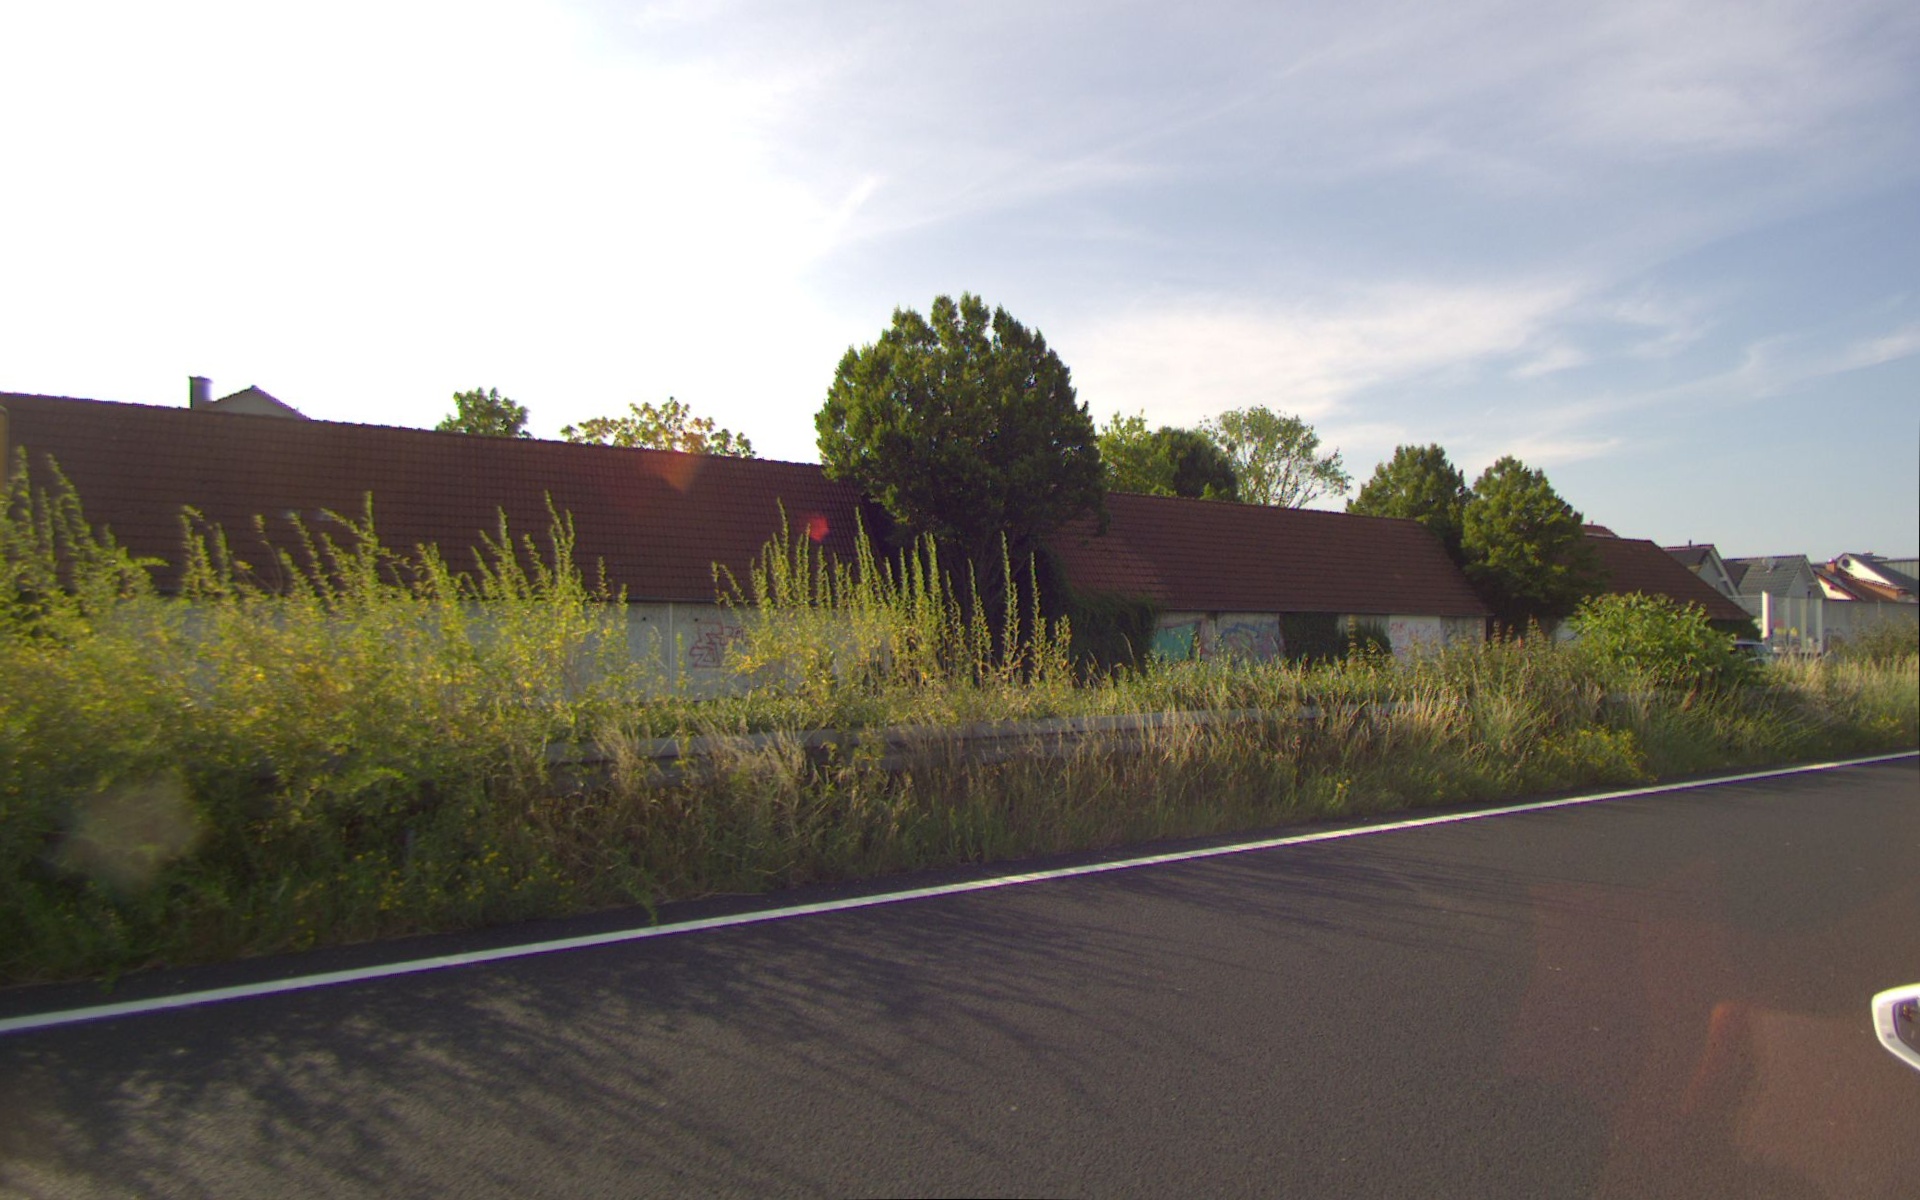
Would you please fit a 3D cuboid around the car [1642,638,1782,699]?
[{"bbox_3d":[21.110,1.889,28.170,4.137,1.528,1.681,2,0,-30],"label":"car"}]
